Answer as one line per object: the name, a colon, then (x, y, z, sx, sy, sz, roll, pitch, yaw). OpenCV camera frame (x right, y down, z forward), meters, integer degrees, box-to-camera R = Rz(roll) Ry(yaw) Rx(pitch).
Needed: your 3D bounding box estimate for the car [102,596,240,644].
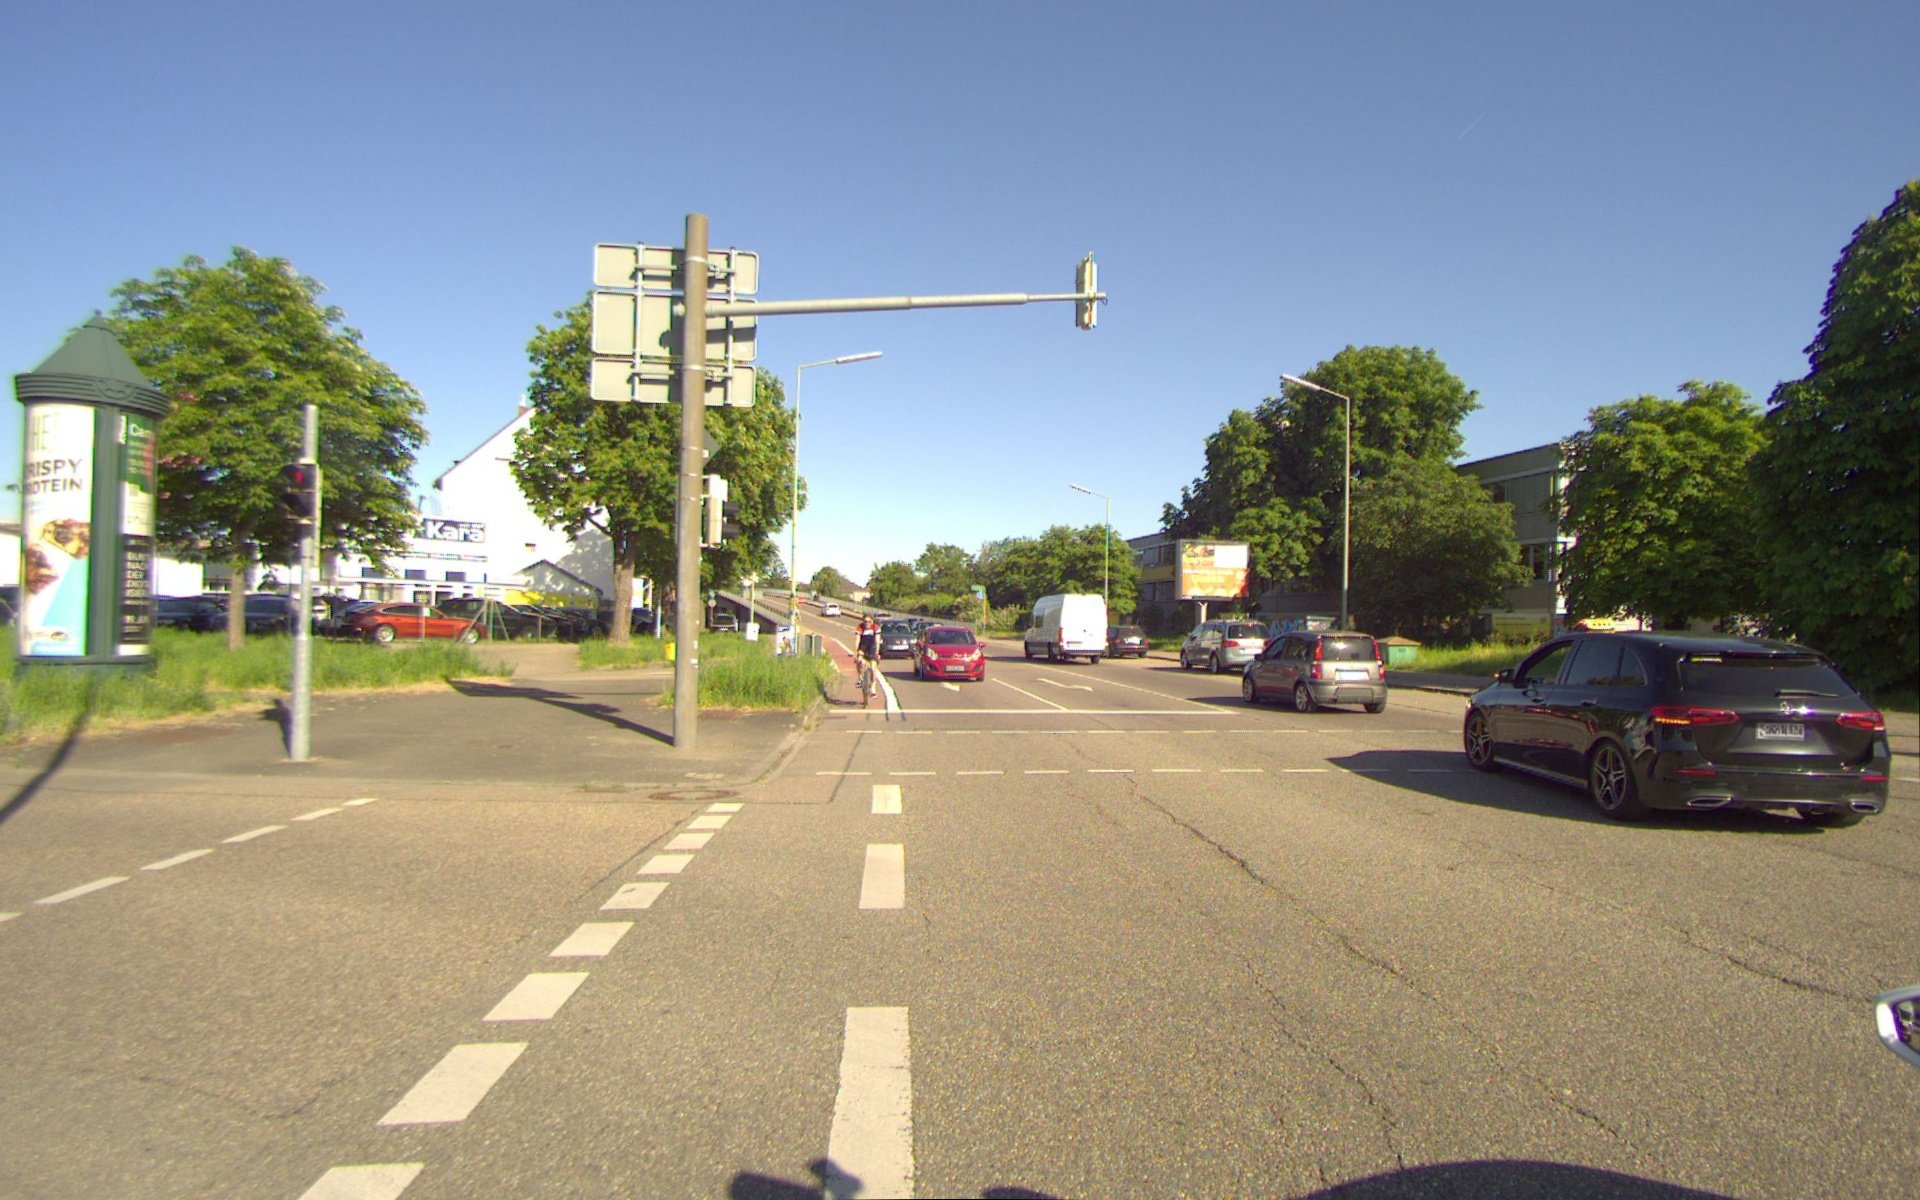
car: (-26.252, 0.675, 33.610, 1.712, 1.481, 3.997, 1, -1, -6)

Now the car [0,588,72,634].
car: (-31.389, 0.356, 32.485, 1.962, 1.460, 3.997, 1, -1, -6)

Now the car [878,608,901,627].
car: (-6.365, 1.590, 90.600, 1.962, 1.702, 3.997, 0, -2, -6)

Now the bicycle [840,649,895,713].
bicycle: (-1.731, 1.473, 18.697, 0.922, 1.030, 2.195, 2, -1, -6)

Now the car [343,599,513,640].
car: (-19.271, 0.741, 36.550, 5.026, 1.327, 2.330, 3, -1, -44)

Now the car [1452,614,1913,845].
car: (6.200, 0.984, 9.277, 1.739, 1.613, 3.992, 1, -1, 7)

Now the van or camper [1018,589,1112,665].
van or camper: (4.149, 1.057, 41.044, 2.192, 2.775, 7.072, 2, -1, -7)

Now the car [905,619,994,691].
car: (-0.387, 1.474, 28.072, 1.825, 1.759, 4.263, 2, 0, -9)

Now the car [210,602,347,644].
car: (-26.349, 0.902, 38.942, 3.925, 1.526, 1.832, 1, -1, -6)

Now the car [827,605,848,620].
car: (-13.907, 1.402, 114.148, 1.851, 1.564, 3.988, 2, -1, -14)

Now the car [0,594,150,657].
car: (-28.897, 0.825, 32.739, 1.962, 1.911, 3.997, 1, -1, -6)

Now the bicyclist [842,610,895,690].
bicyclist: (-1.701, 0.905, 18.602, 0.919, 1.420, 0.822, 2, 0, -6)

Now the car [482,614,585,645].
car: (-18.689, 1.293, 44.038, 3.888, 1.257, 2.027, 2, -1, -31)

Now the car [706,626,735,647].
car: (-18.295, 2.739, 76.654, 2.010, 1.483, 4.946, 2, -1, -15)

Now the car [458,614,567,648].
car: (-18.354, 1.265, 41.194, 3.888, 1.257, 2.027, 2, -1, -31)

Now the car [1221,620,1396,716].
car: (6.710, 1.260, 19.805, 1.776, 1.661, 3.998, 1, -2, -5)

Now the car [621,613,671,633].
car: (-26.290, 1.930, 84.182, 3.644, 1.530, 1.762, 2, -1, -43)

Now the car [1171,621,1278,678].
car: (8.732, 1.590, 33.556, 1.844, 1.745, 4.607, -1, -1, -7)

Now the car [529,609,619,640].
car: (-21.280, 1.343, 55.399, 4.361, 1.596, 1.798, 2, -1, -33)
